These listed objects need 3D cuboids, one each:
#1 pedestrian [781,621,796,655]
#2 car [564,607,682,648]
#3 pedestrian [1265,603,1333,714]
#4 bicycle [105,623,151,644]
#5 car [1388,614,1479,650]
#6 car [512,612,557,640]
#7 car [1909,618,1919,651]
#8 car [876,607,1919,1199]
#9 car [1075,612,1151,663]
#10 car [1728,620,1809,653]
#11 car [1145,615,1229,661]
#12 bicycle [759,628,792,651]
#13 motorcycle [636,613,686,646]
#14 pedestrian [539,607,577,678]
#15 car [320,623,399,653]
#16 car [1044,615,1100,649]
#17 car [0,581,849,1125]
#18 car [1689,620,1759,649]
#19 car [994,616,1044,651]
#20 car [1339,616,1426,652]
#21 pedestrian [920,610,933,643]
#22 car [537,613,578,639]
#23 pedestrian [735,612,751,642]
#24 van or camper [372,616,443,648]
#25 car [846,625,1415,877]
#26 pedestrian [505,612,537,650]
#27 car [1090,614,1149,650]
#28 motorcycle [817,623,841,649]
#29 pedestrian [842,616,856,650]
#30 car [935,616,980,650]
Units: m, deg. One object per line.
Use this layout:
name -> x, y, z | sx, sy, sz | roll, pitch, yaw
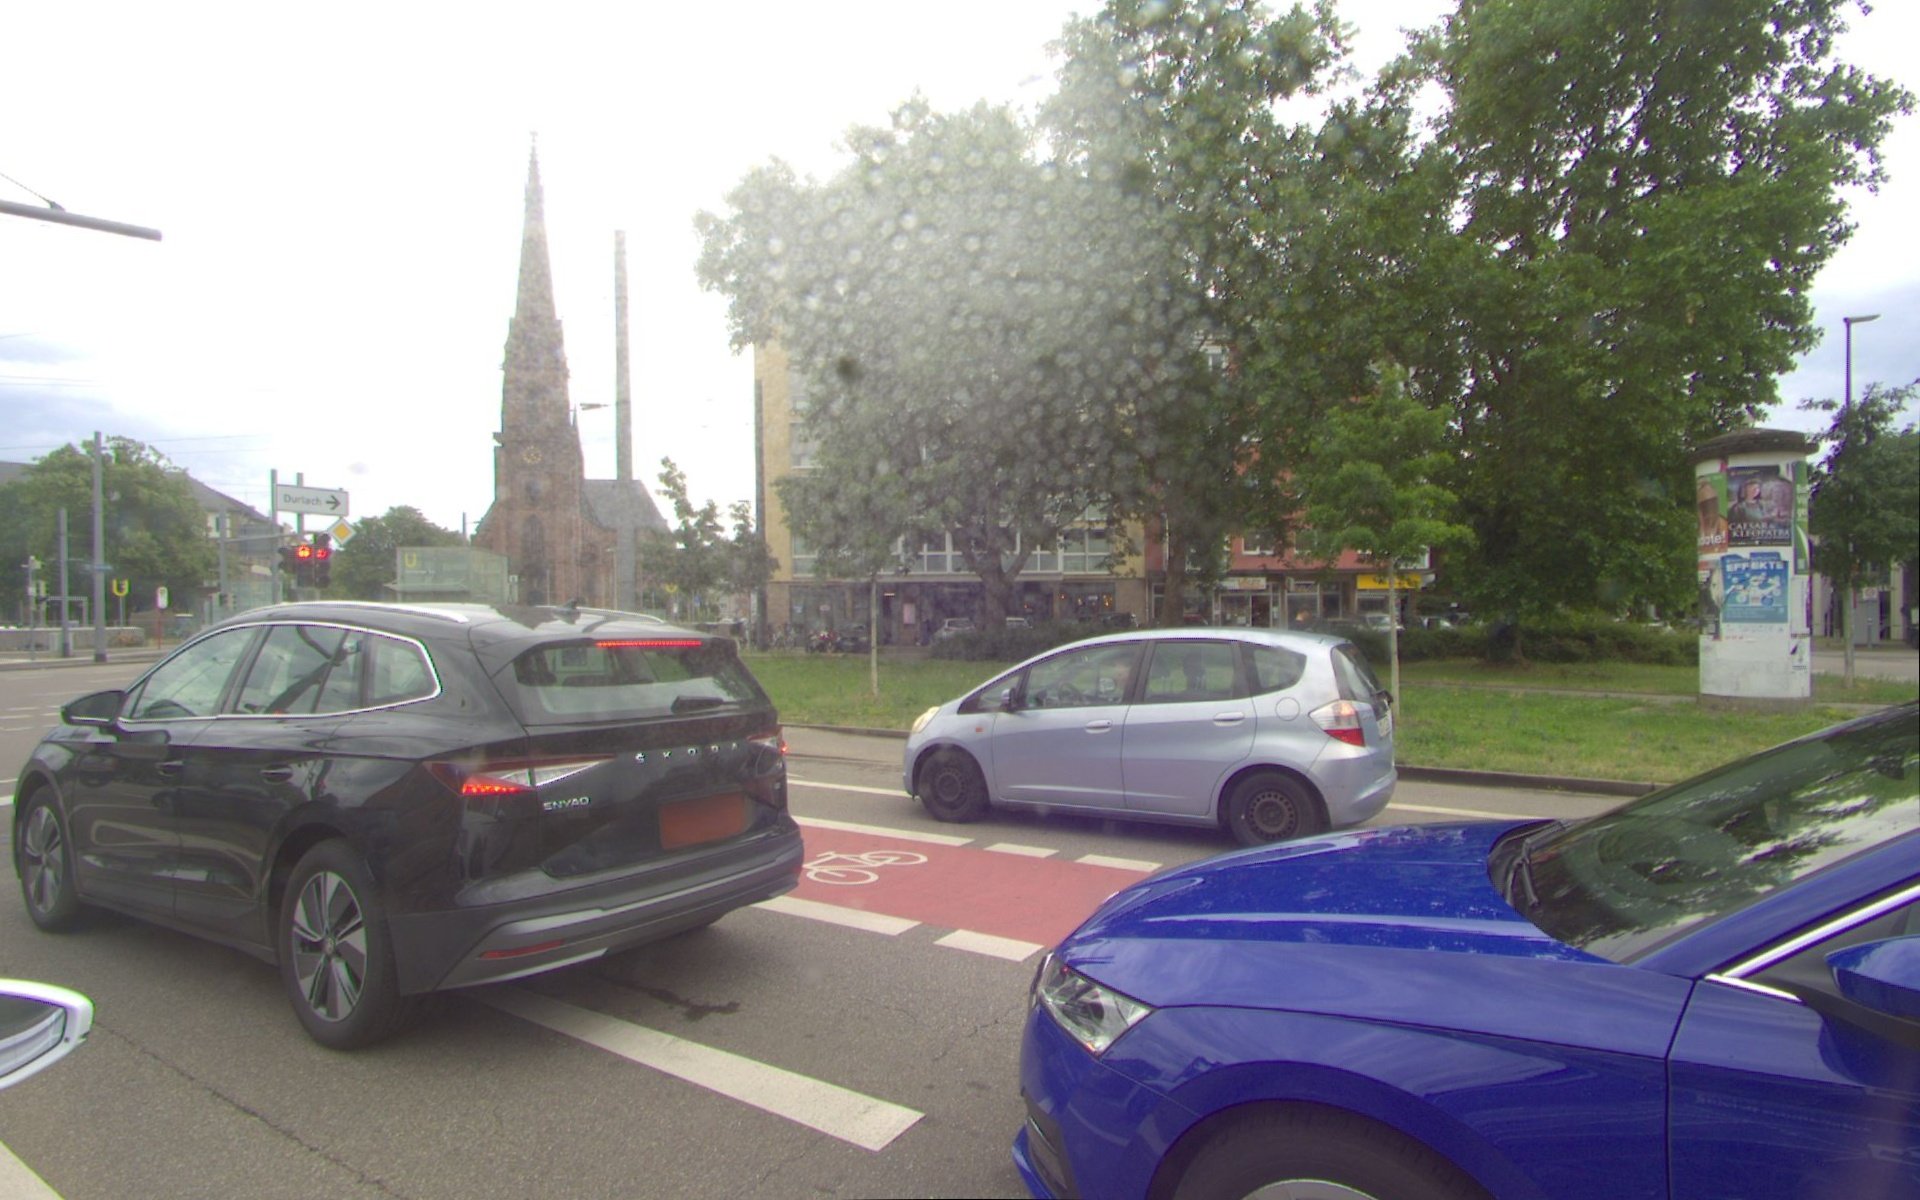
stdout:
pedestrian -> -8.622, 1.911, 50.324 | 0.625, 1.659, 0.872 | 0, 0, -1
car -> -18.102, 1.481, 53.941 | 5.674, 2.039, 2.011 | -1, -1, -40
pedestrian -> 5.796, 0.986, 17.148 | 0.968, 1.868, 0.536 | 0, 0, -11
bicycle -> -55.438, 2.234, 66.737 | 0.699, 1.348, 2.252 | -2, -1, 39
car -> 21.972, 1.471, 46.683 | 1.825, 1.568, 4.476 | 0, -1, -5
car -> -32.476, 1.978, 76.492 | 1.961, 2.040, 4.000 | 0, -1, -5
car -> 46.501, 1.596, 46.346 | 1.865, 1.568, 4.469 | -2, -1, 17
car -> 2.151, 0.761, 1.684 | 4.402, 1.508, 1.776 | -1, -1, 32
car -> 5.496, 1.323, 36.475 | 1.825, 1.745, 4.476 | 0, -1, -3
car -> 43.524, 1.948, 54.022 | 1.828, 1.644, 4.469 | -2, -1, 17
car -> 8.231, 1.340, 36.674 | 1.825, 1.568, 4.476 | 0, -1, -3
bicycle -> -7.452, 1.597, 40.456 | 1.240, 0.929, 0.595 | 0, 0, 2
motorcycle -> -11.119, 1.090, 37.333 | 0.753, 1.183, 2.385 | 0, -1, 12
pedestrian -> -11.418, 1.193, 28.477 | 0.874, 1.956, 1.016 | 0, 0, -16
car -> -32.256, 2.028, 53.876 | 1.740, 1.483, 4.001 | -2, -1, 1
car -> 5.137, 1.460, 46.501 | 1.825, 1.509, 4.476 | 0, -1, -3
car -> -2.844, 0.794, 4.901 | 4.444, 1.617, 1.774 | -1, -1, 31
car -> 45.359, 2.025, 59.560 | 1.828, 1.644, 4.469 | -2, -1, 17
car -> 2.665, 1.505, 46.199 | 1.825, 1.509, 4.476 | 0, -1, -3
car -> 19.505, 1.535, 46.447 | 1.825, 1.568, 4.476 | 0, -1, -5
pedestrian -> -1.684, 1.328, 50.179 | 0.625, 1.659, 0.872 | 0, 0, 0
car -> -32.564, 2.057, 81.043 | 1.961, 2.040, 4.000 | 0, -1, -5
pedestrian -> -12.143, 1.490, 56.092 | 0.771, 1.659, 0.637 | 0, 0, -4
van or camper -> -33.026, 1.893, 60.000 | 1.961, 1.764, 4.305 | -2, -1, -3
car -> 1.240, 0.949, 7.811 | 4.039, 1.486, 1.746 | -1, -1, 32
pedestrian -> -21.087, 1.484, 48.113 | 1.066, 1.820, 0.947 | -2, -1, -1
car -> 7.377, 1.460, 46.695 | 1.825, 1.568, 4.476 | 0, -1, -3
motorcycle -> -5.196, 1.433, 39.654 | 0.858, 1.010, 1.014 | 0, -1, -14
pedestrian -> -5.433, 1.627, 49.038 | 0.625, 1.659, 0.872 | 0, 0, 0
car -> -0.153, 1.495, 46.151 | 1.825, 1.509, 4.476 | 0, -1, -3
